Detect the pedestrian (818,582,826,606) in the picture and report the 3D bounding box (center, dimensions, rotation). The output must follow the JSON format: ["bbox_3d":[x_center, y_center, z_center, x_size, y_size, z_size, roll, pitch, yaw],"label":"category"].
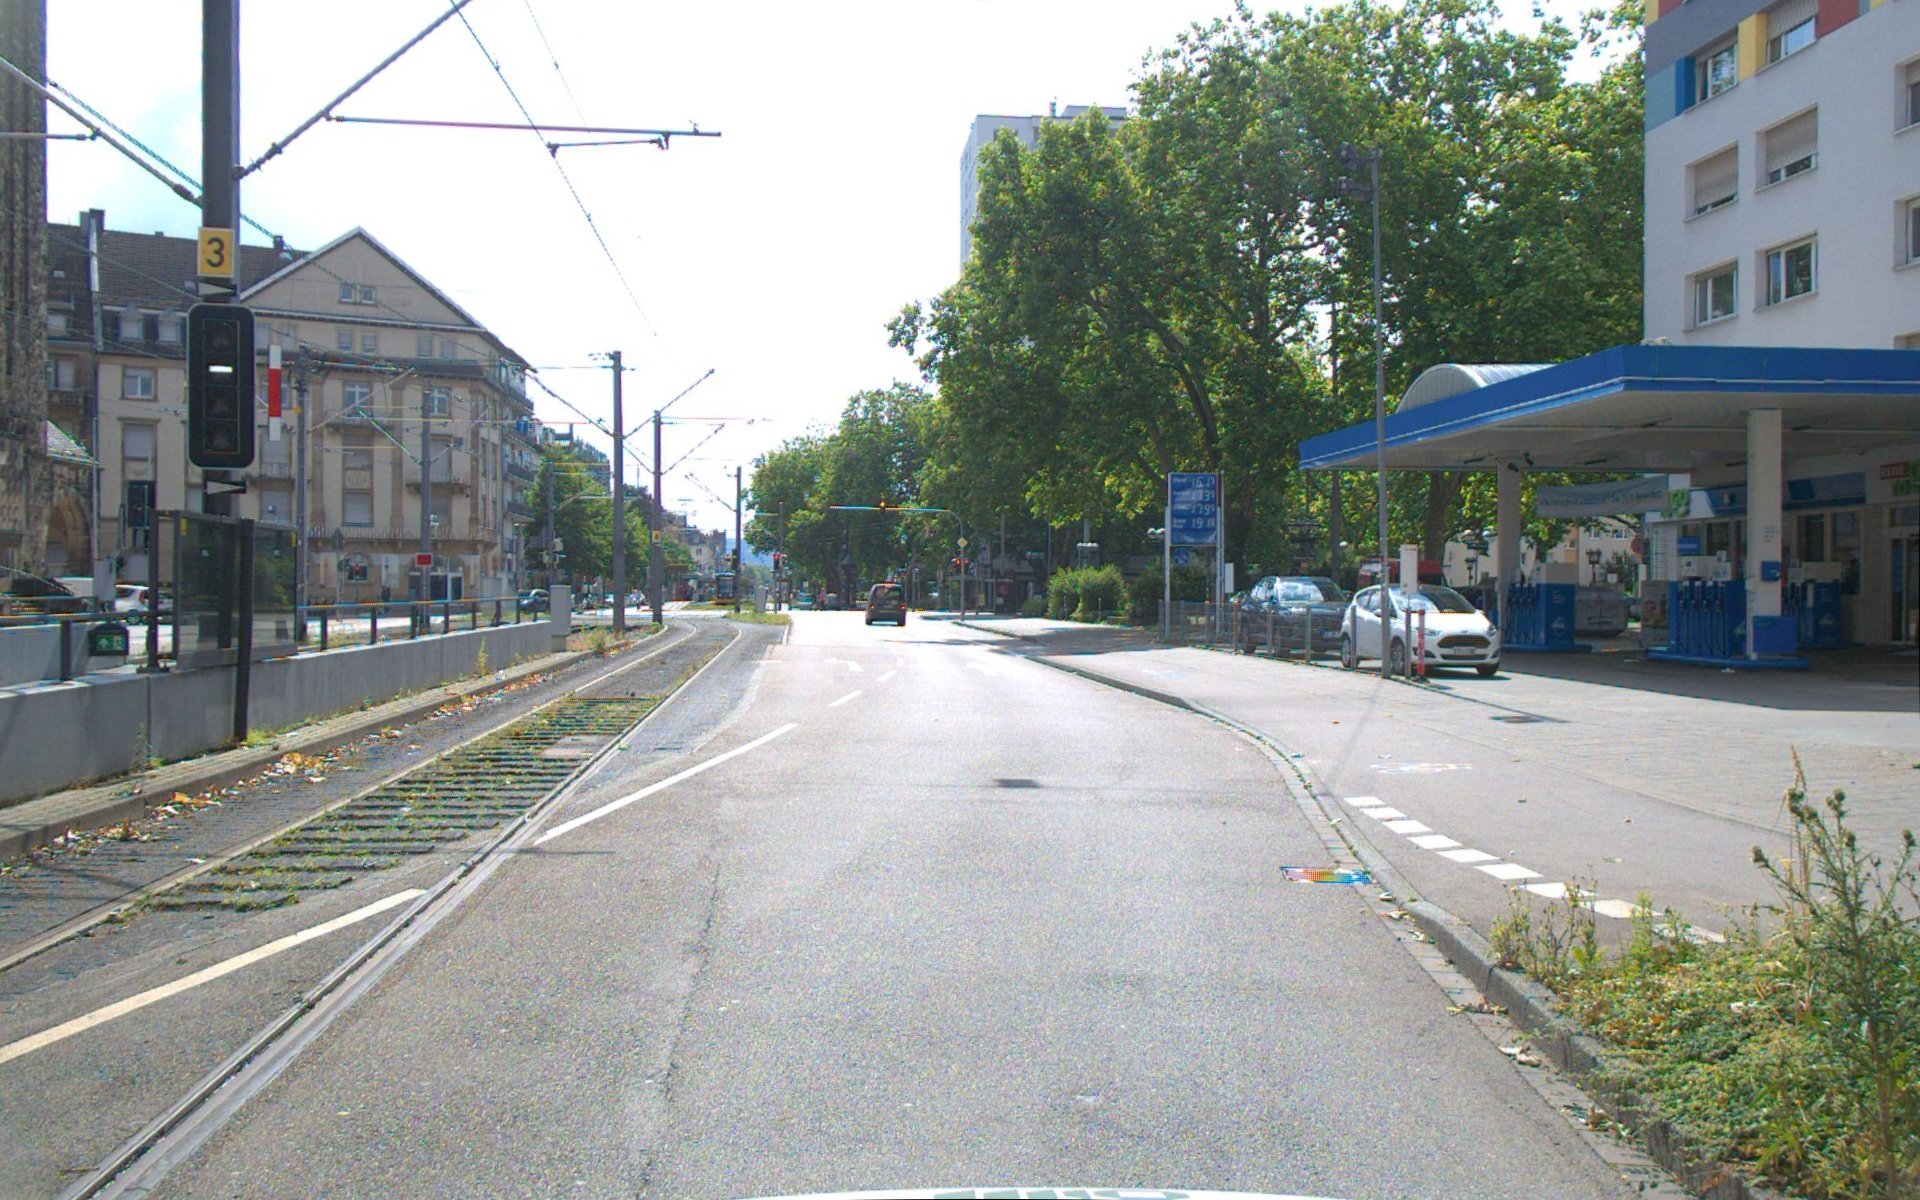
[{"bbox_3d":[-10.397,-0.446,124.579,0.646,1.815,0.660,0,0,-5],"label":"pedestrian"}]

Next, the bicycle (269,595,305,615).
[{"bbox_3d":[-40.295,0.300,99.028,1.960,1.134,0.479,0,0,-43],"label":"bicycle"}]

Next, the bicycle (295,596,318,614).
[{"bbox_3d":[-40.315,0.300,102.006,0.796,1.071,2.535,0,0,-34],"label":"bicycle"}]

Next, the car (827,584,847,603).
[{"bbox_3d":[-11.555,-0.612,154.982,1.827,1.783,3.995,0,0,-5],"label":"car"}]

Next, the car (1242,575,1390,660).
[{"bbox_3d":[7.343,0.325,34.555,1.770,1.630,4.578,1,0,-5],"label":"car"}]

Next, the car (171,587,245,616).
[{"bbox_3d":[-44.580,0.093,98.052,3.910,1.703,1.998,0,0,27],"label":"car"}]

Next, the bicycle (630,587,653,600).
[{"bbox_3d":[-27.819,-0.561,144.468,0.875,1.067,2.309,0,0,21],"label":"bicycle"}]

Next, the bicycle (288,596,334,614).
[{"bbox_3d":[-39.434,0.319,100.536,2.534,1.071,0.674,0,0,-34],"label":"bicycle"}]

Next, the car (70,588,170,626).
[{"bbox_3d":[-34.391,0.256,67.780,3.203,1.528,1.852,0,0,-7],"label":"car"}]

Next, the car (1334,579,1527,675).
[{"bbox_3d":[7.829,0.412,27.883,1.771,1.481,3.996,1,0,-6],"label":"car"}]

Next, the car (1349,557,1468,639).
[{"bbox_3d":[15.028,-0.100,55.806,2.070,2.627,6.015,0,0,-4],"label":"car"}]

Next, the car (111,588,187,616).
[{"bbox_3d":[-47.397,0.108,96.687,3.904,1.668,1.803,0,0,19],"label":"car"}]

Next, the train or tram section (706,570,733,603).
[{"bbox_3d":[-26.026,-1.445,179.410,2.197,3.389,12.957,0,0,-5],"label":"train or tram section"}]

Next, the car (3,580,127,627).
[{"bbox_3d":[-34.837,0.123,64.440,3.798,1.779,1.891,0,0,-9],"label":"car"}]

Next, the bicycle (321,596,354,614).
[{"bbox_3d":[-38.735,0.324,102.935,0.786,1.071,2.568,0,0,7],"label":"bicycle"}]

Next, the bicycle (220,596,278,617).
[{"bbox_3d":[-42.696,0.383,99.320,3.239,1.275,1.000,0,0,11],"label":"bicycle"}]

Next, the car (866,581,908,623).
[{"bbox_3d":[-3.353,0.078,75.312,1.716,1.840,3.471,1,0,-5],"label":"car"}]

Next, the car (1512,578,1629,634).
[{"bbox_3d":[20.615,0.187,56.060,1.967,1.785,4.649,1,0,-4],"label":"car"}]

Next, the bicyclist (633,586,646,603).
[{"bbox_3d":[-27.963,-0.496,144.346,0.762,1.538,1.001,0,0,21],"label":"bicyclist"}]

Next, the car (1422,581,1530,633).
[{"bbox_3d":[17.620,0.220,56.740,1.967,1.680,4.649,1,0,-4],"label":"car"}]
